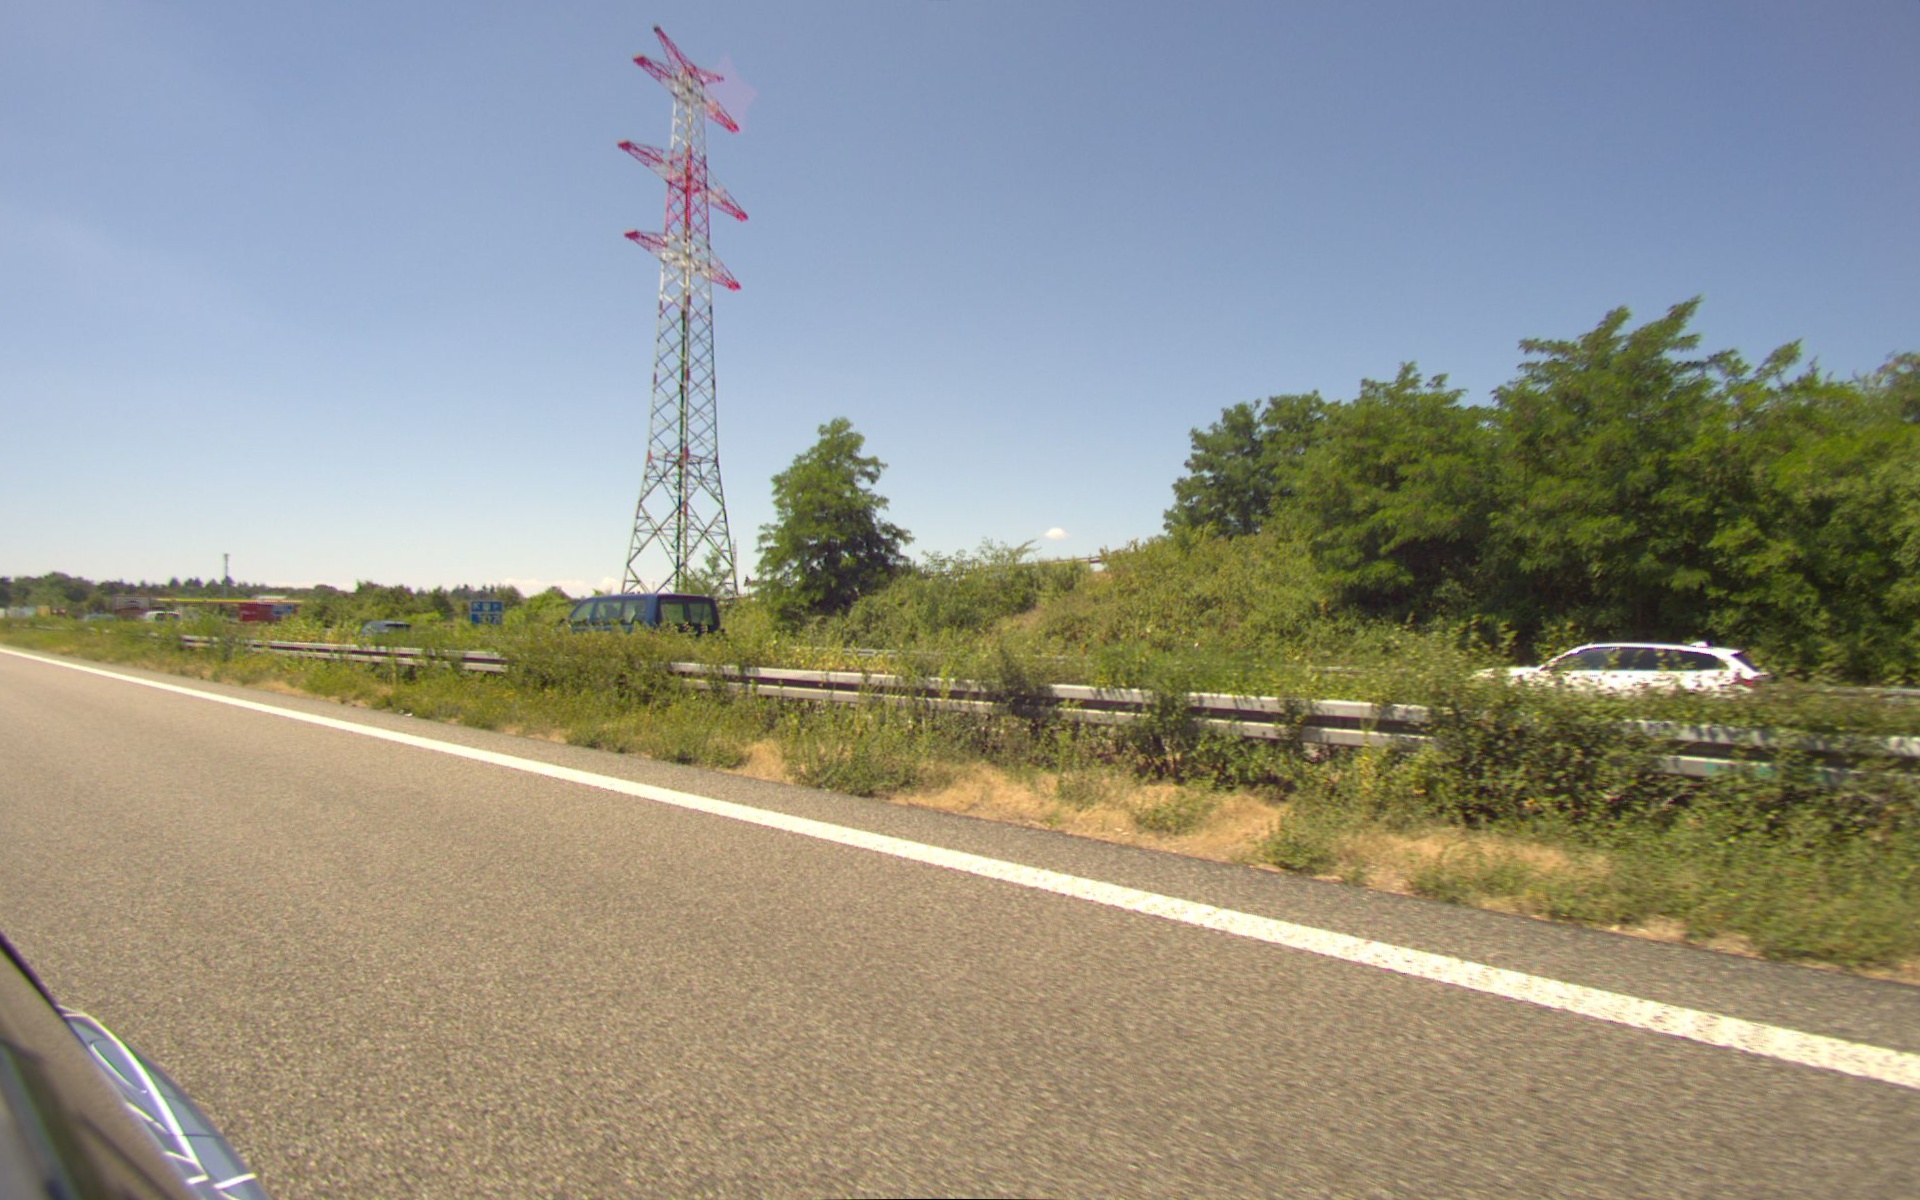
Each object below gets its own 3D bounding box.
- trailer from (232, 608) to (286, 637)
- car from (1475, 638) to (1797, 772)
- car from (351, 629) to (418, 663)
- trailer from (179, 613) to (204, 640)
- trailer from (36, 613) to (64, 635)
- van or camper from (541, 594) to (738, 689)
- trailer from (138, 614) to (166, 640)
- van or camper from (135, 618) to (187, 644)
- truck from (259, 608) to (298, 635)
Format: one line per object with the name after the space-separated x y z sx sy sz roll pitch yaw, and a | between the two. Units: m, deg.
-106.161 3.335 153.527 3.078 4.086 11.345 -1 0 -15 | trailer
11.137 1.610 16.852 4.255 1.851 1.784 -1 0 41 | car
-25.423 2.024 44.682 3.325 1.440 1.534 -1 -3 41 | car
-150.639 5.142 198.540 3.257 4.911 9.708 -1 0 -34 | trailer
-181.412 4.804 201.714 11.075 4.251 2.804 -1 0 40 | trailer
-7.043 0.838 21.943 4.872 1.826 1.825 -1 0 41 | van or camper
-159.961 5.372 200.328 9.134 4.886 3.000 -1 0 43 | trailer
-59.726 2.327 75.579 5.309 1.870 2.103 -1 -4 42 | van or camper
-107.972 3.342 160.410 3.075 4.080 6.664 -1 0 -14 | truck
